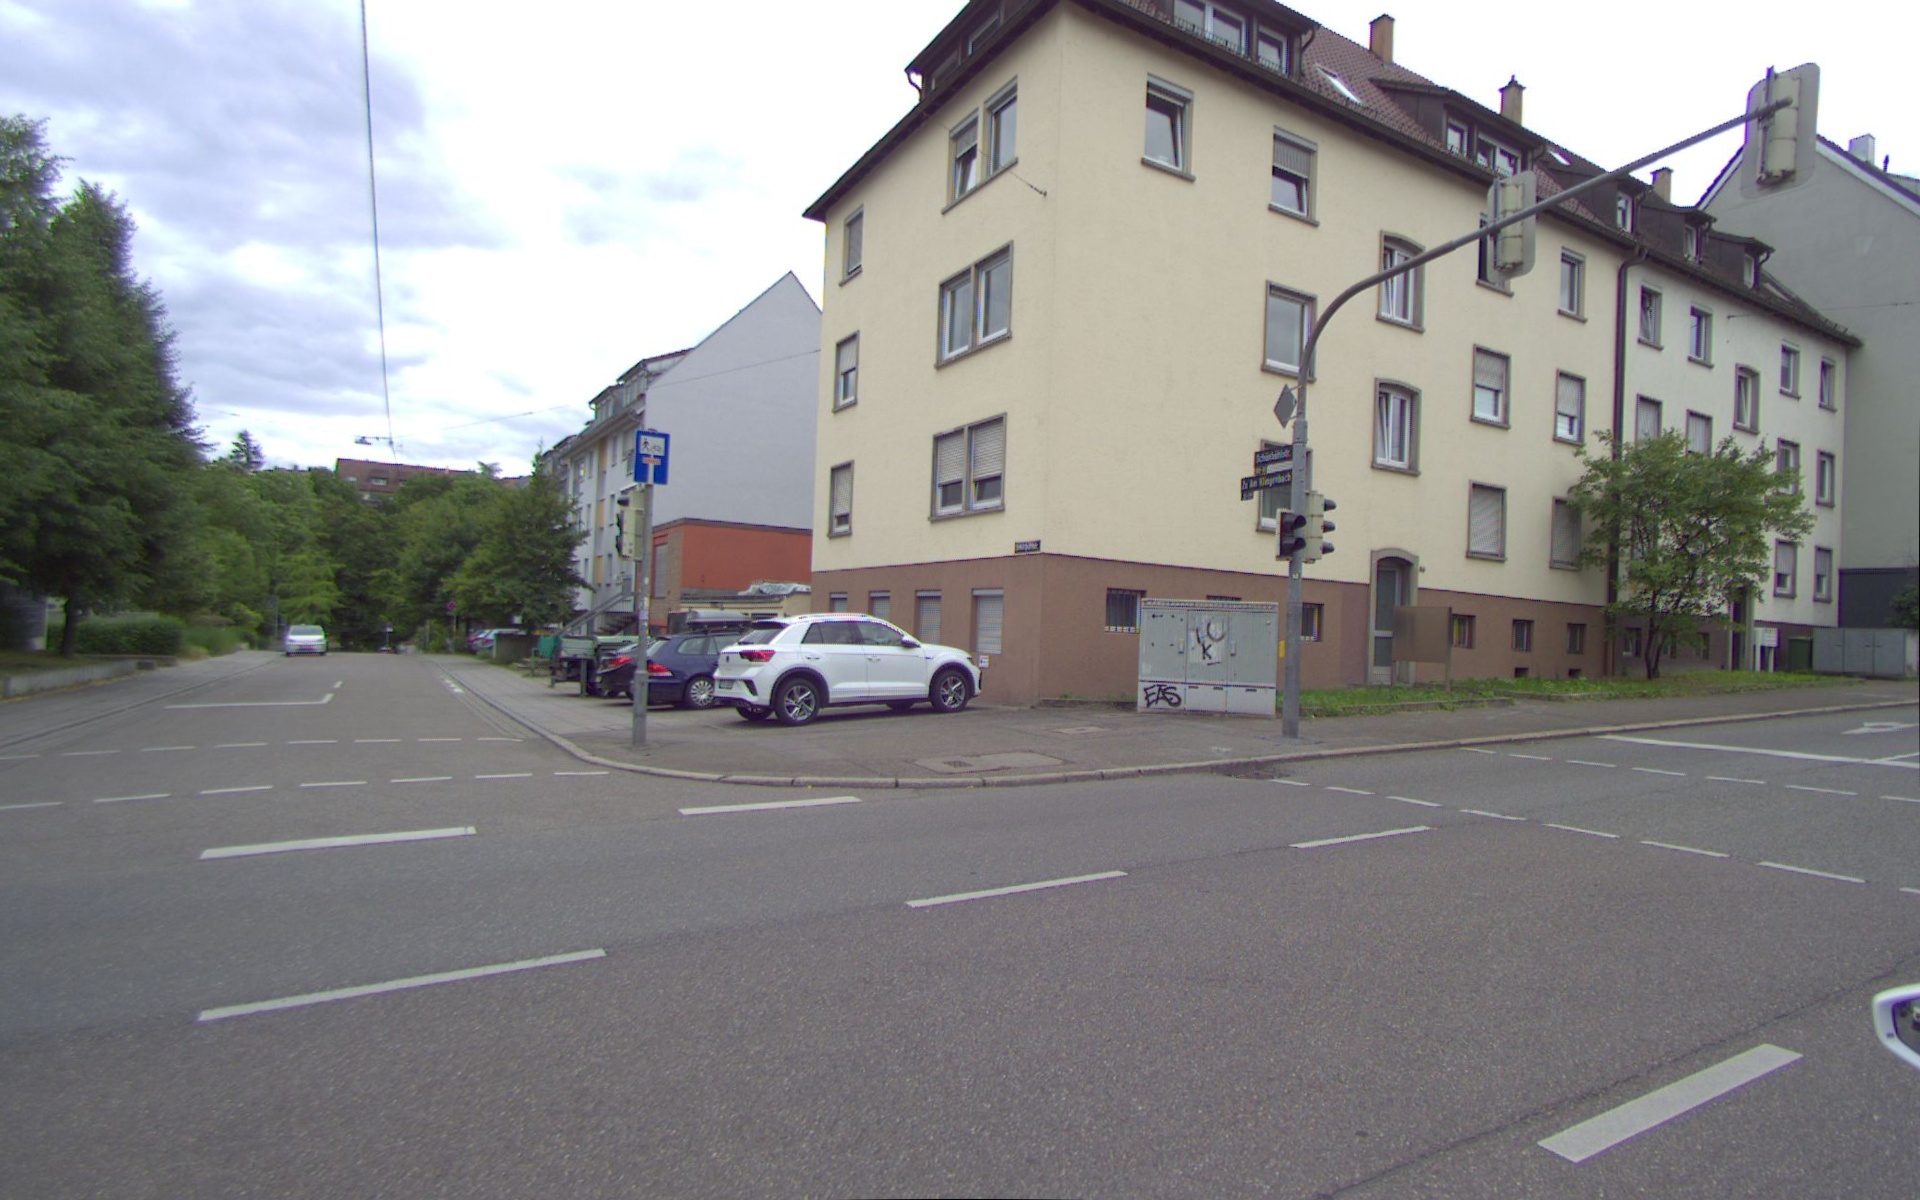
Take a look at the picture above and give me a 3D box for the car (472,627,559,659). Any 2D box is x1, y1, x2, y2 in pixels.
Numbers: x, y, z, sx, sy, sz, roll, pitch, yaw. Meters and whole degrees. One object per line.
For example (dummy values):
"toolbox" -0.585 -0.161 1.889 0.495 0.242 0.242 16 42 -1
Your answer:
"car" -23.047 2.193 52.042 3.953 1.606 1.984 1 -1 -30

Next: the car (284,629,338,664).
"car" -31.675 2.246 49.139 1.976 1.606 3.969 1 -1 -30

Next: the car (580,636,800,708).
"car" -5.853 1.504 21.903 4.217 1.288 1.981 -1 -2 -35

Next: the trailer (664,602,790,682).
"trailer" -6.285 1.101 27.101 2.937 2.040 1.749 1 -1 -31

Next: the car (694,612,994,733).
"car" -1.712 1.014 15.415 4.217 1.557 1.803 -1 -2 -35

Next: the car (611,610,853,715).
"car" -4.446 1.152 19.810 4.217 1.782 1.981 -1 -1 -35

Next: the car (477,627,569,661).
"car" -21.537 2.126 49.493 3.953 1.606 1.984 1 -1 -30
